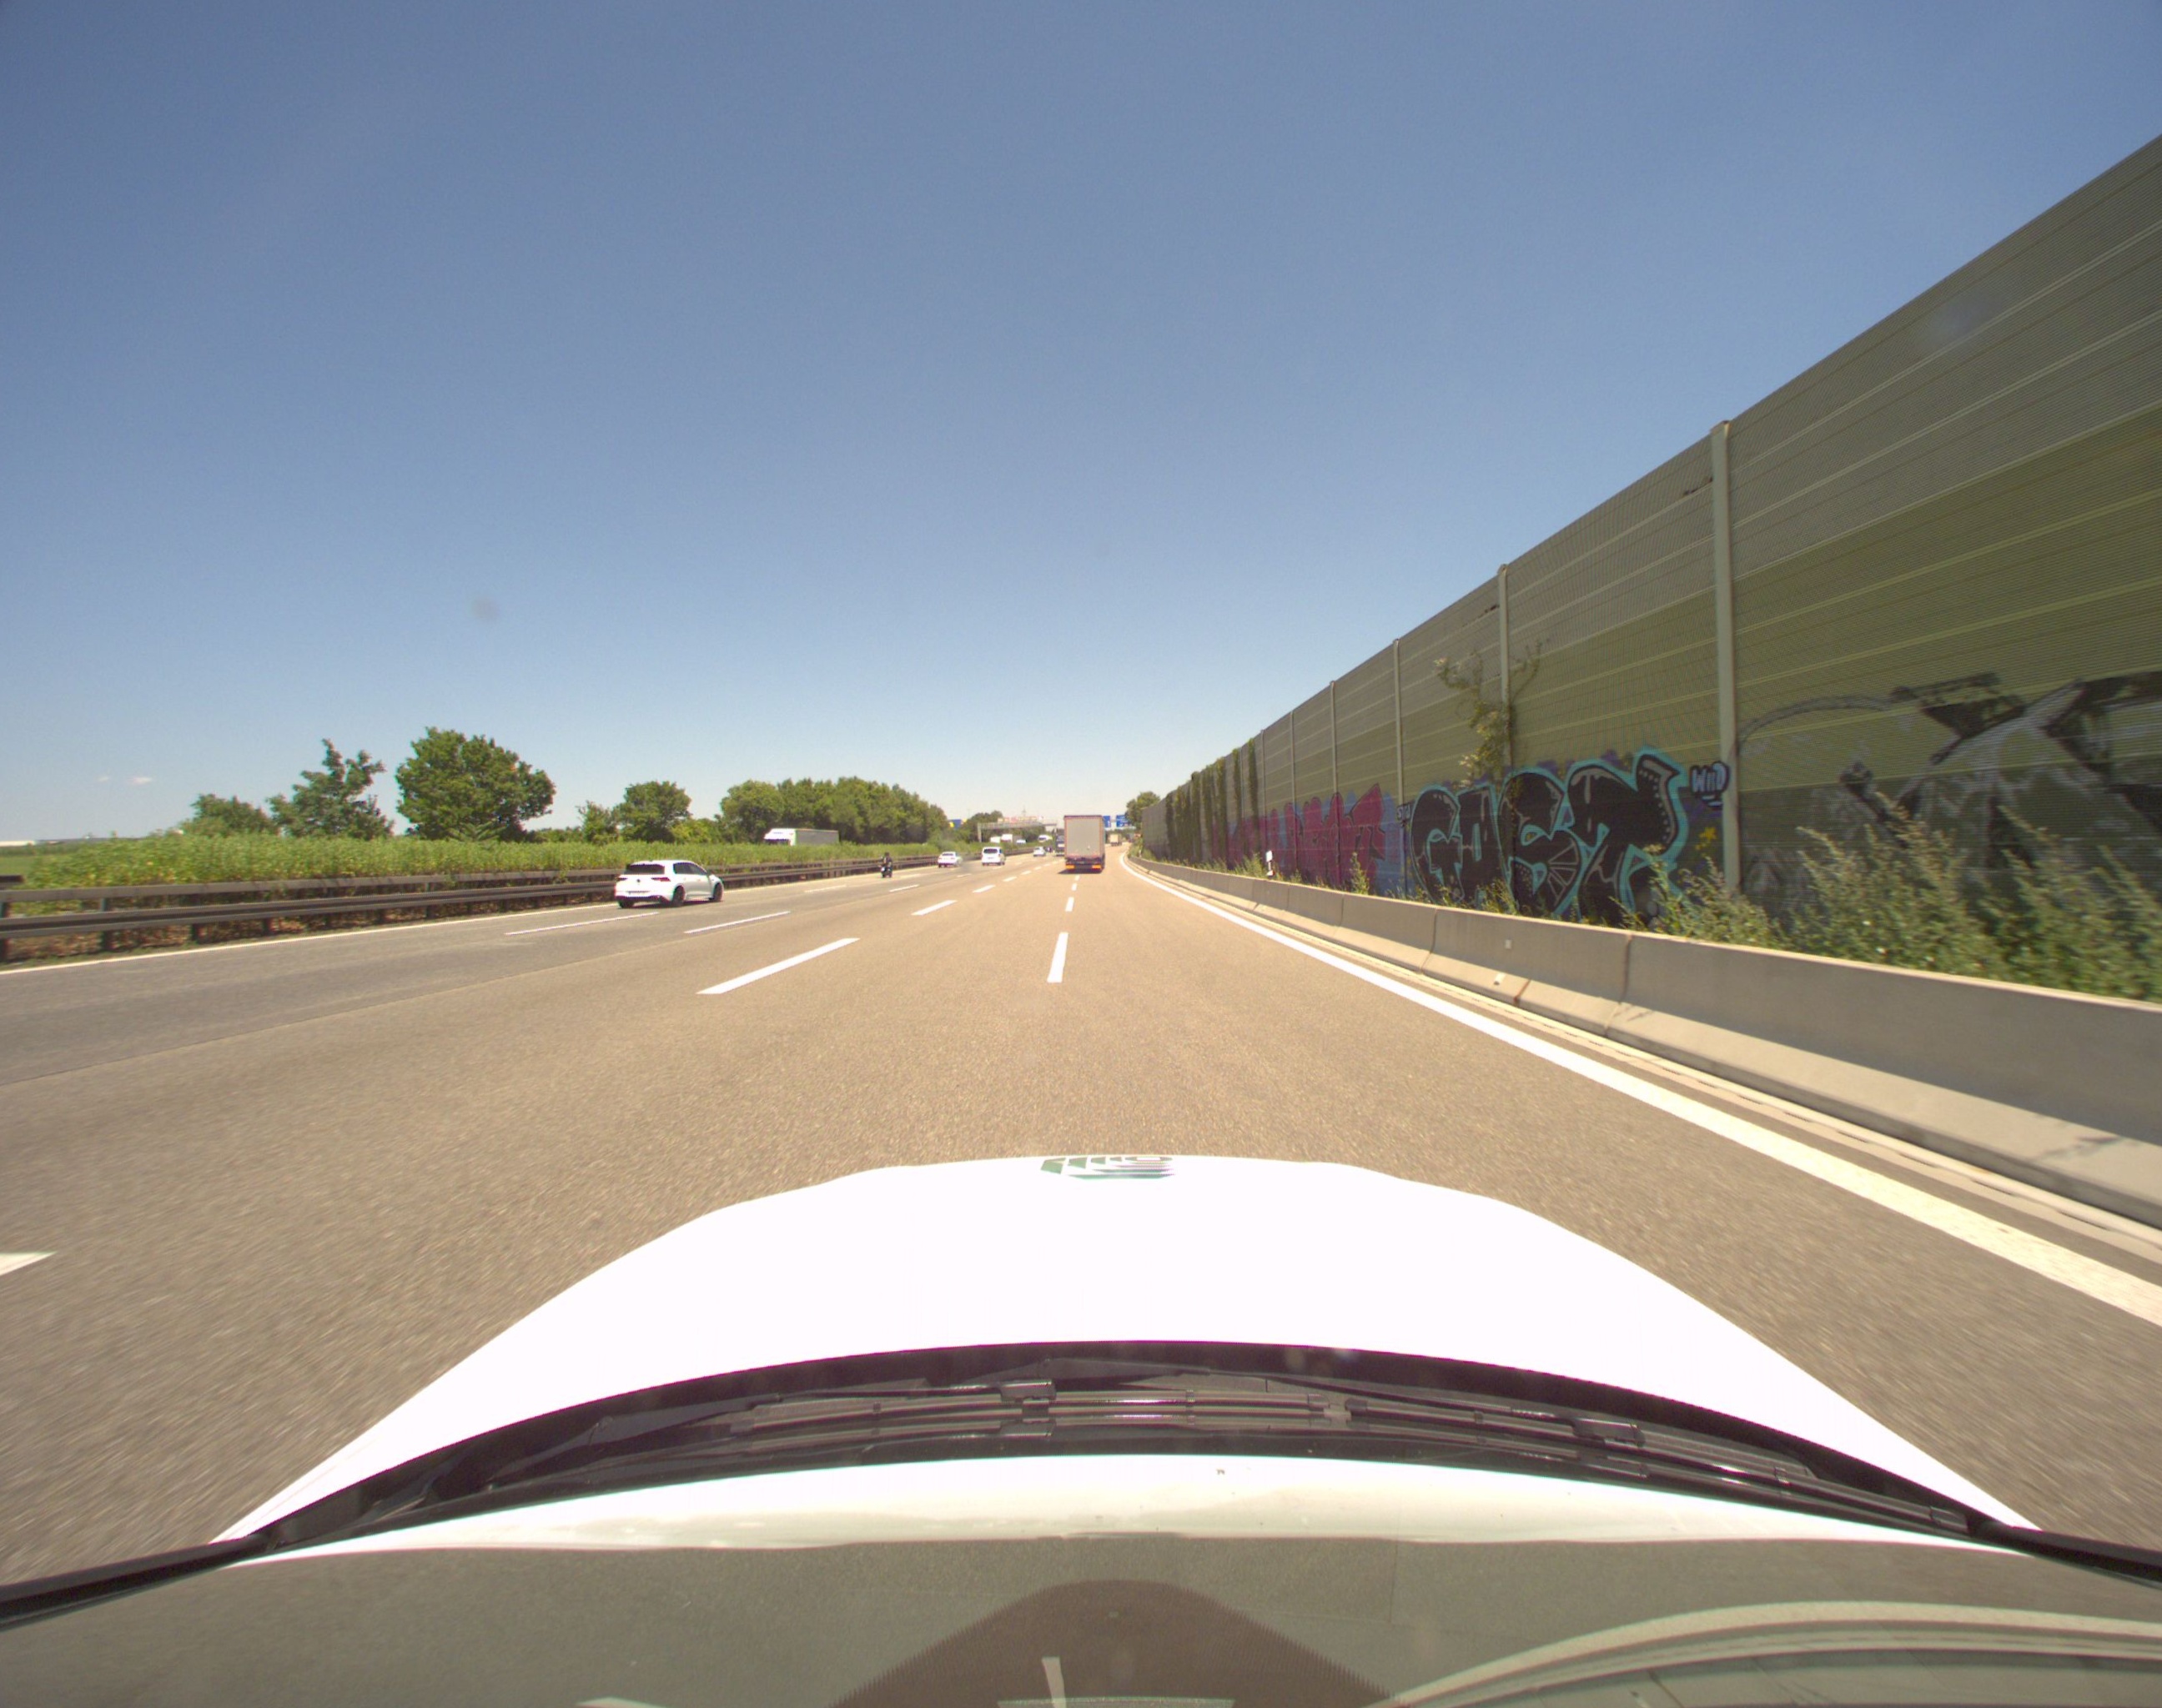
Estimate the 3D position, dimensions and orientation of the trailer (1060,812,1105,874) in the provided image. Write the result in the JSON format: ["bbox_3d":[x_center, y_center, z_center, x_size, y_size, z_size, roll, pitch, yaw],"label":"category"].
[{"bbox_3d":[0.228,-0.820,60.503,2.917,4.015,12.041,-2,1,1],"label":"trailer"}]

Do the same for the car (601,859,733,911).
[{"bbox_3d":[-13.058,0.912,26.061,1.776,1.440,4.669,-1,0,1],"label":"car"}]

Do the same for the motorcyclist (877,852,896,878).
[{"bbox_3d":[-12.288,0.684,51.511,0.890,1.597,1.299,-1,-1,0],"label":"motorcyclist"}]

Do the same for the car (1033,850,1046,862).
[{"bbox_3d":[-6.988,0.326,137.157,1.898,1.851,4.631,-2,0,1],"label":"car"}]

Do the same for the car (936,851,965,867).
[{"bbox_3d":[-12.489,0.476,77.989,1.870,1.440,5.126,-1,-1,1],"label":"car"}]

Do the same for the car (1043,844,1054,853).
[{"bbox_3d":[-6.951,-1.125,174.736,1.897,1.717,4.633,-2,-1,2],"label":"car"}]

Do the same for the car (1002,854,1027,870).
[{"bbox_3d":[-7.490,0.895,92.199,1.867,1.806,5.133,-1,-1,5],"label":"car"}]

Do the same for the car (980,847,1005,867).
[{"bbox_3d":[-9.026,0.329,83.291,1.924,1.852,4.692,-2,-1,1],"label":"car"}]

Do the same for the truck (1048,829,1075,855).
[{"bbox_3d":[-3.273,-2.129,142.762,3.733,4.270,14.503,0,1,2],"label":"truck"}]

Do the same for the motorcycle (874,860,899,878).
[{"bbox_3d":[-12.284,0.925,51.543,0.910,1.089,2.849,-1,0,0],"label":"motorcycle"}]

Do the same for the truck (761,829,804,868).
[{"bbox_3d":[-31.525,-0.599,86.220,2.529,3.947,5.167,-1,0,1],"label":"truck"}]

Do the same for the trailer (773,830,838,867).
[{"bbox_3d":[-31.371,-0.602,93.540,2.529,3.947,13.723,-1,0,1],"label":"trailer"}]
